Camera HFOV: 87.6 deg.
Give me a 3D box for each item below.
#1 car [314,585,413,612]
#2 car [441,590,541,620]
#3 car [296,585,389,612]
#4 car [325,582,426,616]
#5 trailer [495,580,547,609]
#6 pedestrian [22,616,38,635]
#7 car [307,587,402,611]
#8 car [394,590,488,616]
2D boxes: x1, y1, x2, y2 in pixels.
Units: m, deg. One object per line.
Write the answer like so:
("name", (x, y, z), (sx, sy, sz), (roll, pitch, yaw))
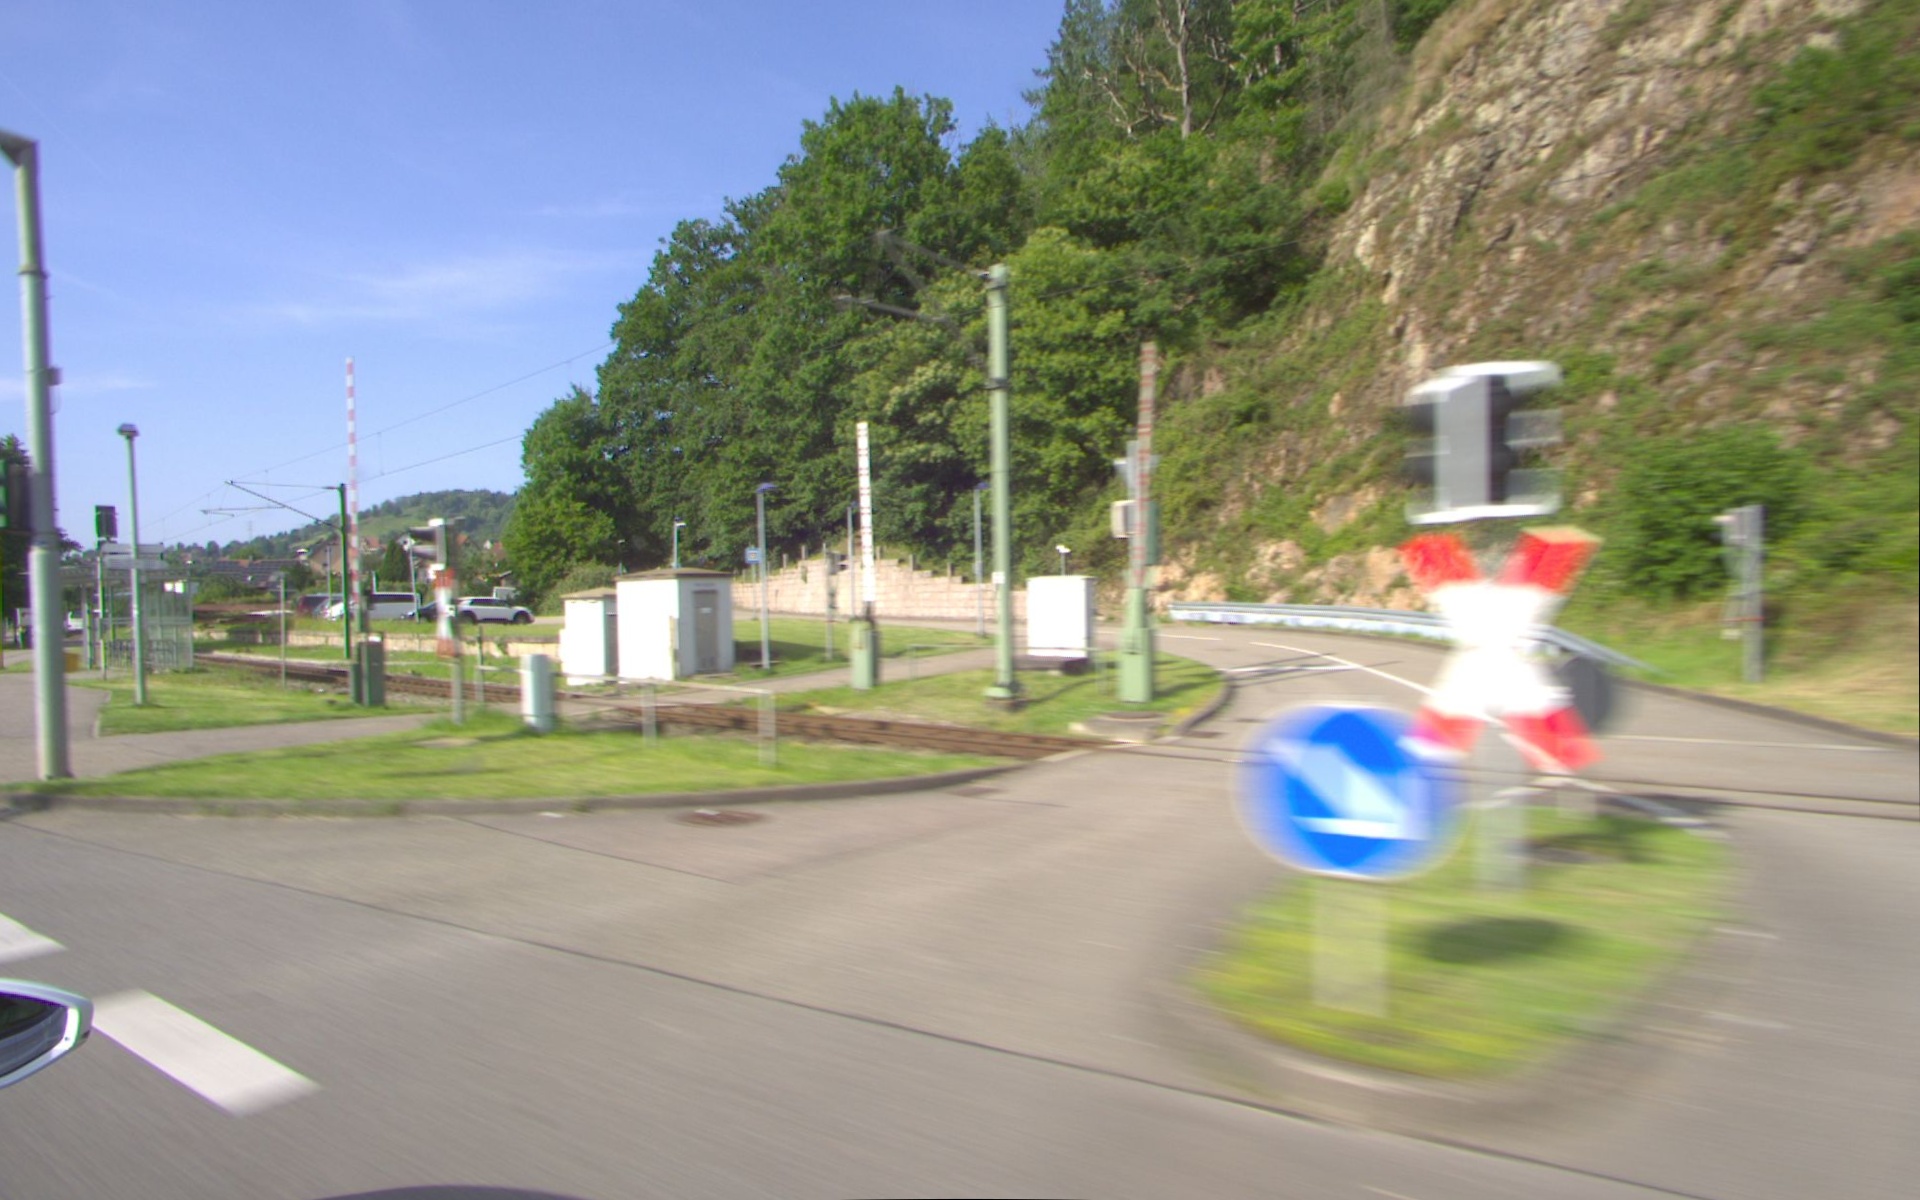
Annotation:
("car", (-37.172, -0.065, 62.488), (2.119, 1.608, 4.922), (-1, 0, 43))
("car", (-22.979, 0.230, 49.174), (1.790, 1.416, 4.072), (-1, 0, 43))
("car", (-40.822, -0.097, 66.257), (1.915, 1.713, 4.922), (-1, 0, 43))
("car", (-35.476, -0.050, 60.827), (2.119, 1.969, 4.922), (0, 0, 43))
("trailer", (-35.478, -0.428, 80.944), (3.648, 2.219, 1.810), (-2, 1, -28))
("pedestrian", (-58.142, 1.601, 62.619), (0.629, 1.177, 0.721), (-3, 1, -38))
("car", (-38.885, -0.029, 64.373), (1.875, 1.487, 4.922), (-1, 0, 43))
("car", (-28.284, 0.183, 54.651), (1.812, 1.361, 4.240), (-1, 0, 43))
